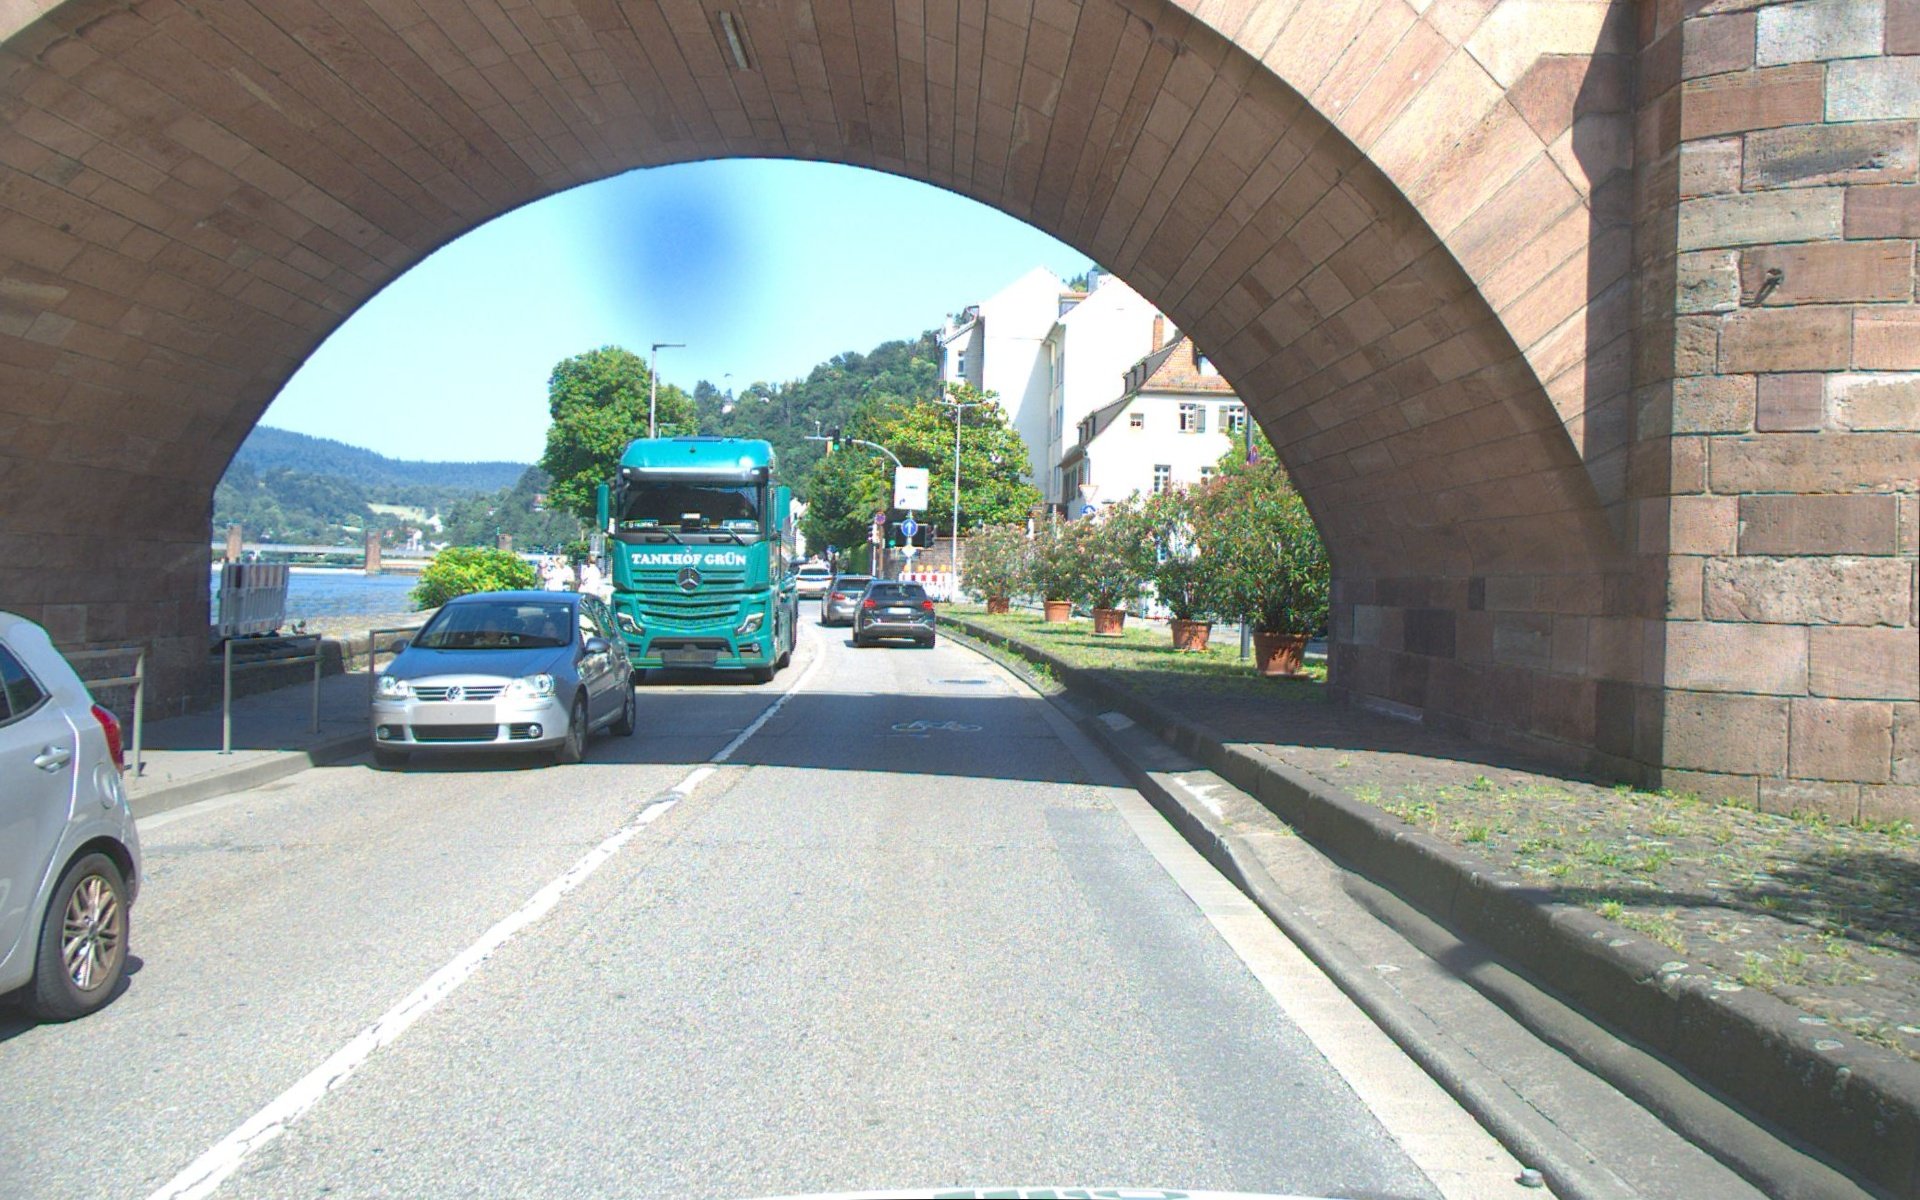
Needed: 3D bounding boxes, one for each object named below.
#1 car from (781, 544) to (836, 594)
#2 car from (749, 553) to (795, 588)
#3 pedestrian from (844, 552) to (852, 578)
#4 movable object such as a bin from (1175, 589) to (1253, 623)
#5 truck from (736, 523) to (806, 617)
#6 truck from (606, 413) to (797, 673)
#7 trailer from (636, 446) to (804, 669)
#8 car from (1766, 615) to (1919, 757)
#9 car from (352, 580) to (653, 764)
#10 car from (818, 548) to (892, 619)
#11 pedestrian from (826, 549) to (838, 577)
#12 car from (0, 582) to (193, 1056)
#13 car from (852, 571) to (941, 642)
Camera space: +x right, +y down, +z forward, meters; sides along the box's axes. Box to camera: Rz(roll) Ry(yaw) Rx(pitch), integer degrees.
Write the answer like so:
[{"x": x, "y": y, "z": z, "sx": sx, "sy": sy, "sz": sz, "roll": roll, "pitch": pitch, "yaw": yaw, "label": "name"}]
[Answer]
[{"x": -6.650, "y": -1.317, "z": 72.399, "sx": 1.958, "sy": 2.049, "sz": 3.990, "roll": 2, "pitch": 0, "yaw": -10, "label": "car"}, {"x": -10.103, "y": -1.562, "z": 88.836, "sx": 1.959, "sy": 1.691, "sz": 3.986, "roll": 2, "pitch": -1, "yaw": -14, "label": "car"}, {"x": -7.253, "y": -2.275, "z": 106.717, "sx": 0.447, "sy": 1.634, "sz": 0.578, "roll": 1, "pitch": 0, "yaw": -7, "label": "pedestrian"}, {"x": 8.978, "y": 0.206, "z": 58.336, "sx": 1.237, "sy": 1.129, "sz": 2.935, "roll": 2, "pitch": 2, "yaw": 45, "label": "movable object such as a bin"}, {"x": -7.283, "y": -1.195, "z": 63.071, "sx": 2.332, "sy": 3.318, "sz": 7.597, "roll": -1, "pitch": 2, "yaw": -8, "label": "truck"}, {"x": -4.119, "y": -0.914, "z": 27.512, "sx": 2.473, "sy": 3.814, "sz": 6.243, "roll": 0, "pitch": 1, "yaw": -3, "label": "truck"}, {"x": -4.552, "y": -0.804, "z": 33.377, "sx": 2.474, "sy": 3.707, "sz": 11.523, "roll": 0, "pitch": 1, "yaw": -4, "label": "trailer"}, {"x": 11.623, "y": 0.982, "z": 19.824, "sx": 1.854, "sy": 1.518, "sz": 4.417, "roll": 1, "pitch": 0, "yaw": 1, "label": "car"}, {"x": -4.059, "y": 0.562, "z": 15.402, "sx": 1.688, "sy": 1.462, "sz": 4.399, "roll": 0, "pitch": 0, "yaw": -2, "label": "car"}, {"x": -3.217, "y": -0.473, "z": 50.015, "sx": 1.956, "sy": 2.049, "sz": 3.993, "roll": 1, "pitch": 0, "yaw": -7, "label": "car"}, {"x": -8.315, "y": -2.413, "z": 107.469, "sx": 0.668, "sy": 1.773, "sz": 0.911, "roll": 1, "pitch": 0, "yaw": -7, "label": "pedestrian"}, {"x": -3.702, "y": 0.679, "z": 4.554, "sx": 1.503, "sy": 1.462, "sz": 3.727, "roll": 0, "pitch": 0, "yaw": -1, "label": "car"}, {"x": -1.532, "y": 0.144, "z": 38.623, "sx": 1.821, "sy": 1.550, "sz": 3.995, "roll": 1, "pitch": 0, "yaw": -6, "label": "car"}]
